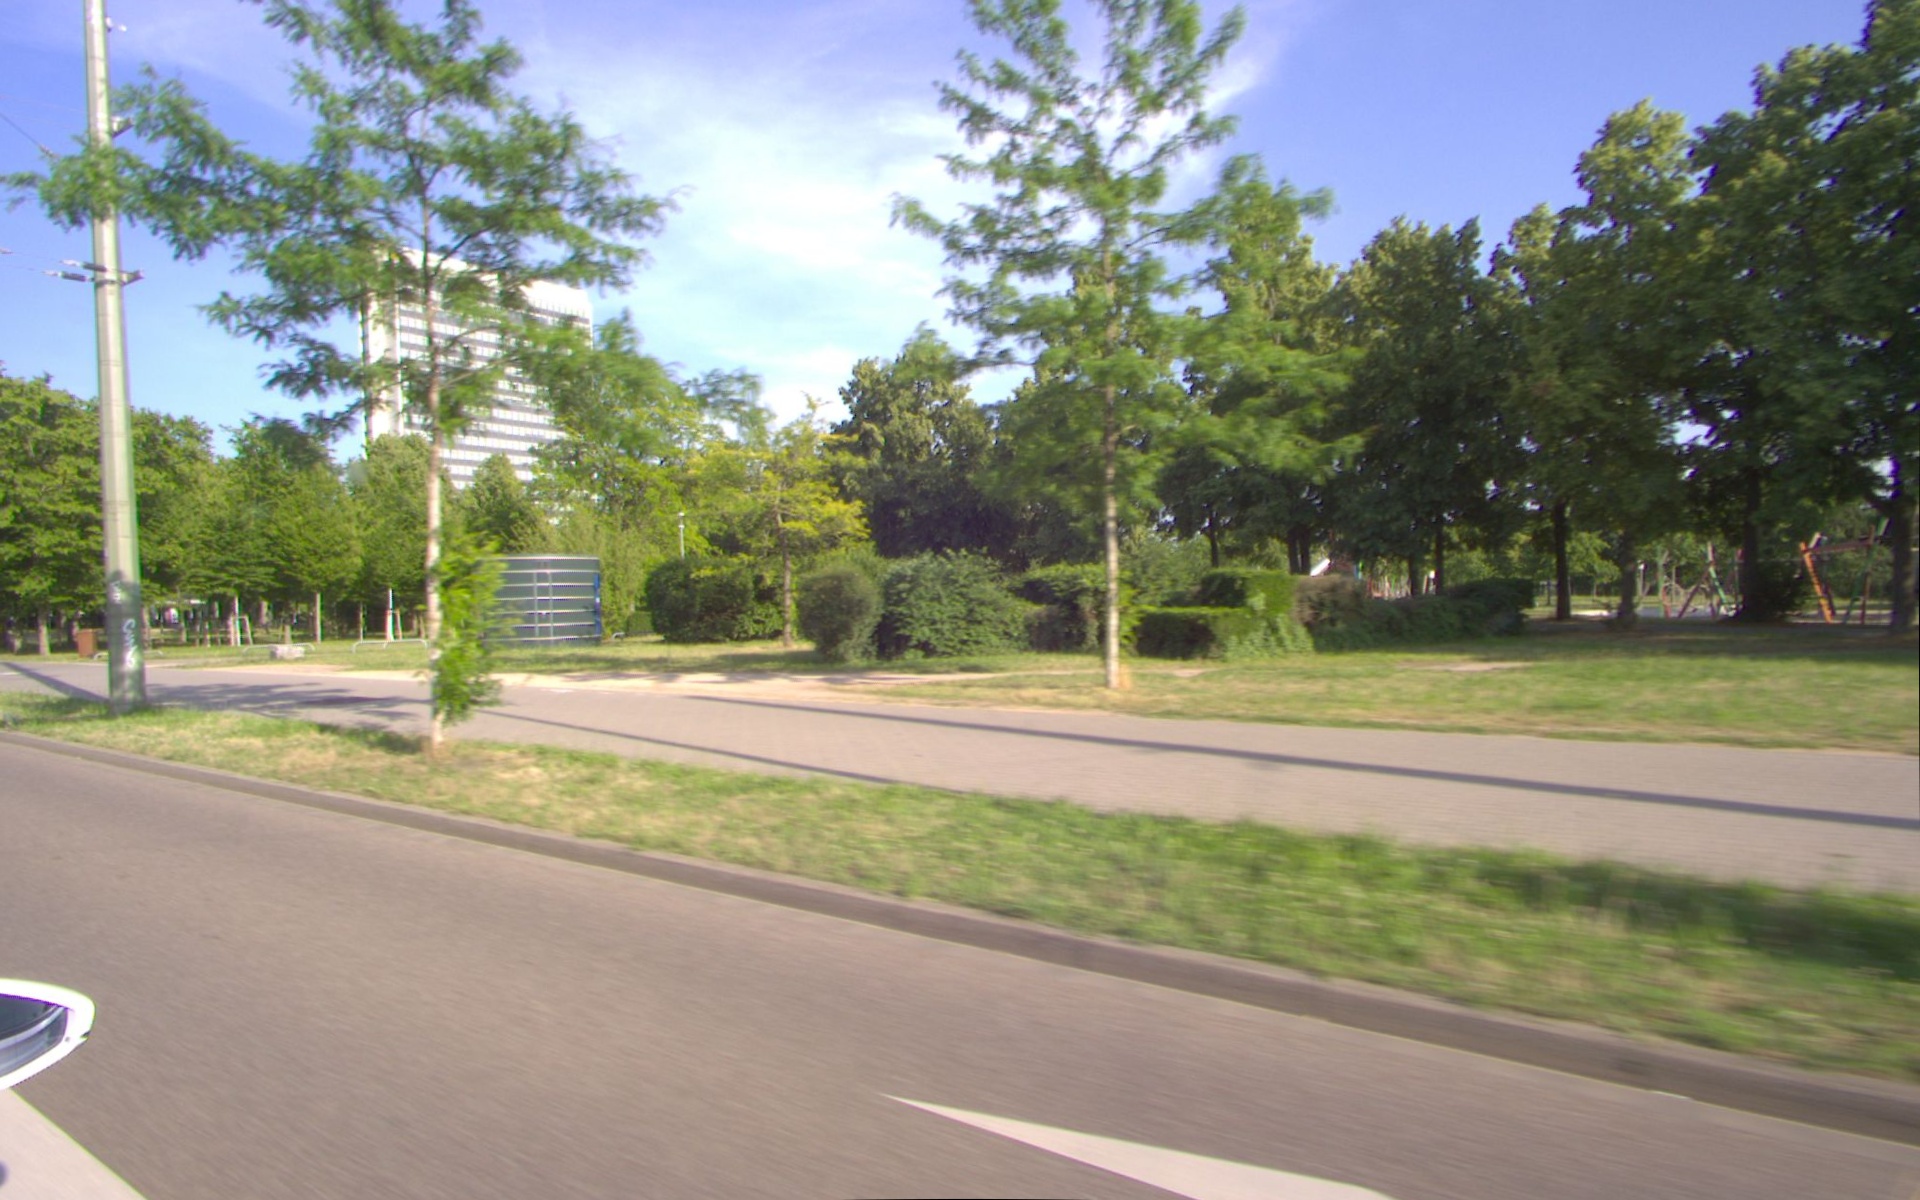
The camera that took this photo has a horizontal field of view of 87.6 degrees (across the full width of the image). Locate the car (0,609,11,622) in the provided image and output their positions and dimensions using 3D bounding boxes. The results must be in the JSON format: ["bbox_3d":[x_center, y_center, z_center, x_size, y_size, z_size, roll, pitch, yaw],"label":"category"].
[{"bbox_3d":[-123.166,2.001,127.051,3.958,1.673,1.981,-1,1,-43],"label":"car"}]

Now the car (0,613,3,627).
[{"bbox_3d":[-119.728,2.526,122.143,1.961,1.673,3.998,-1,0,7],"label":"car"}]
